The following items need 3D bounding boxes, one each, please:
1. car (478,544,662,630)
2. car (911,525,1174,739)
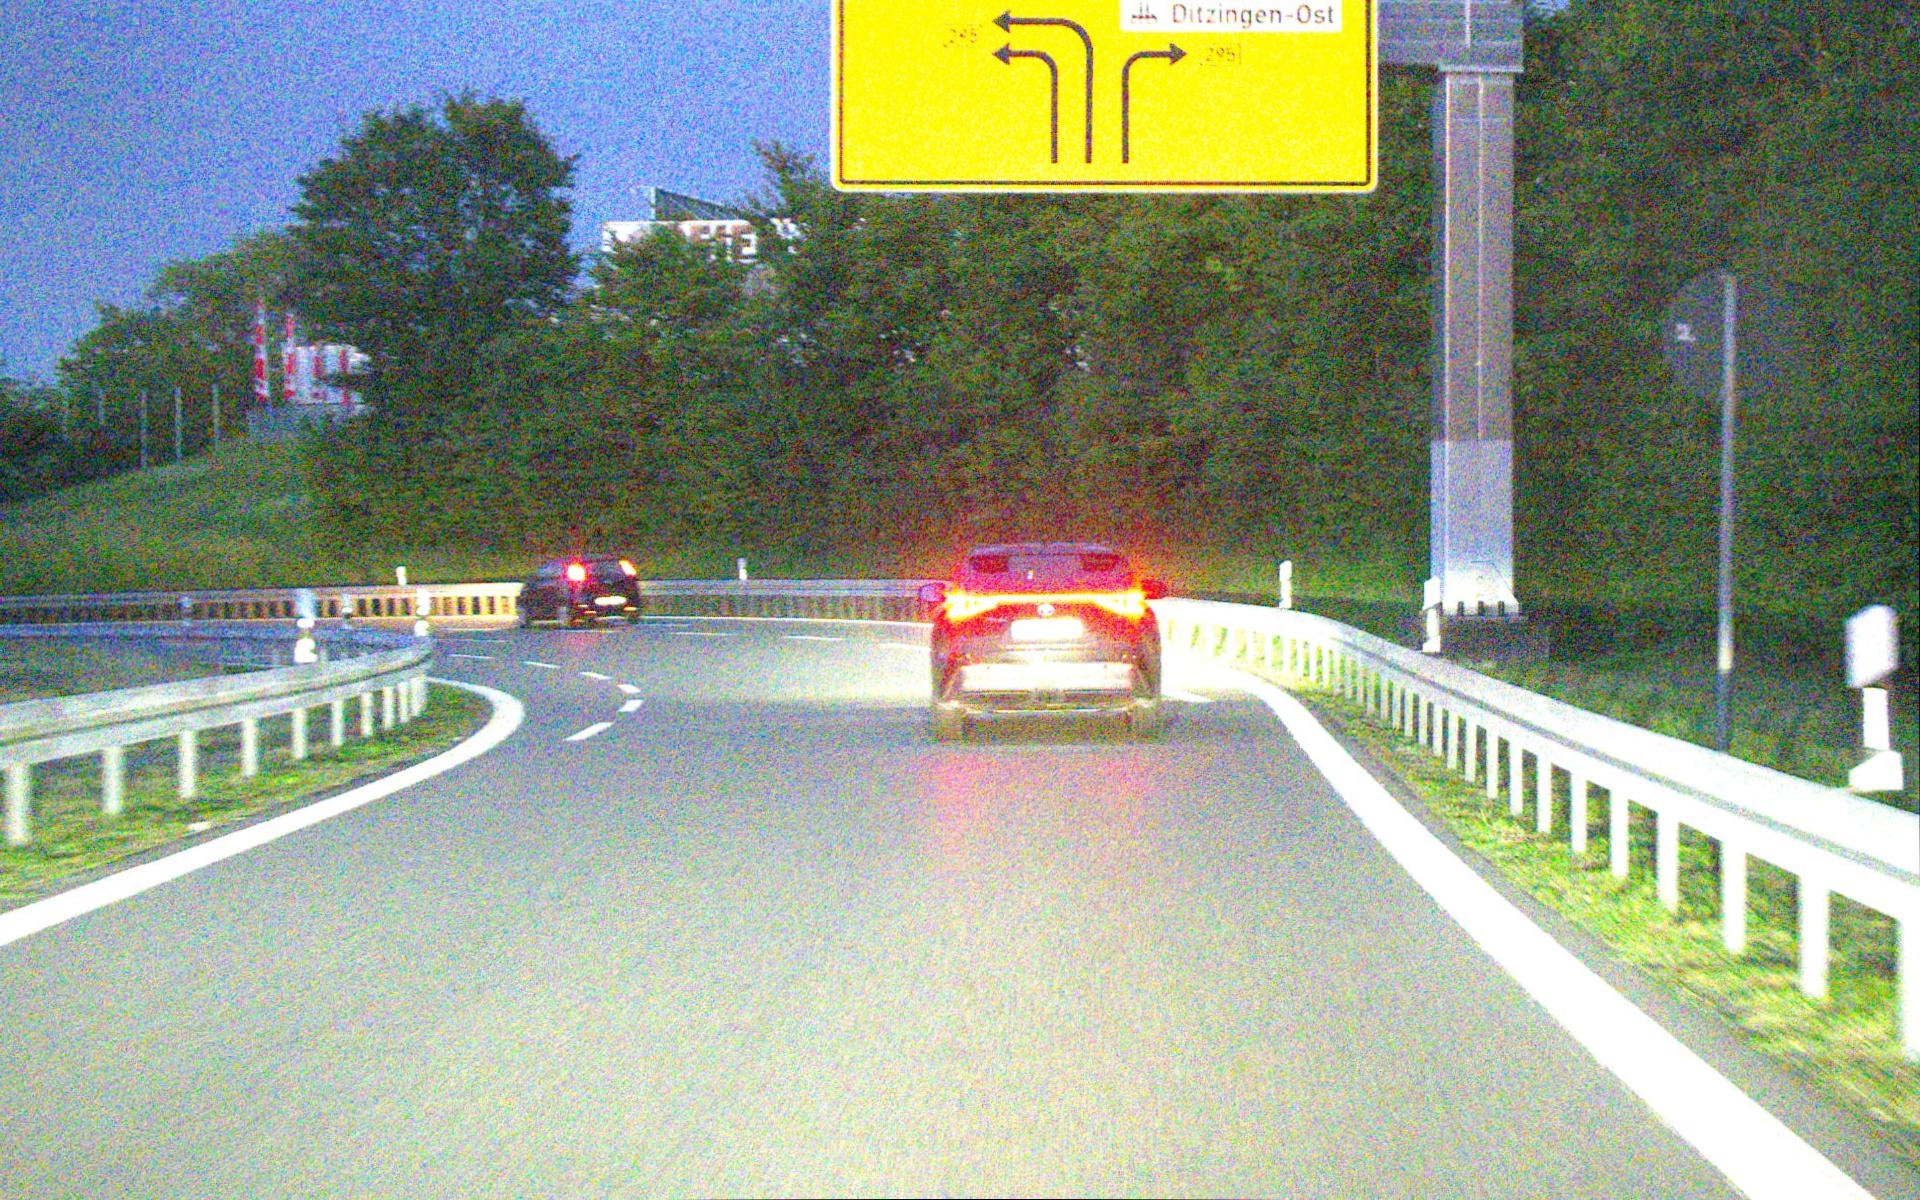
[{"bbox_3d":[-8.108,-0.283,71.252,1.994,1.593,4.000,2,1,-36],"label":"car"},{"bbox_3d":[0.769,0.220,28.793,1.994,1.653,4.314,0,1,4],"label":"car"}]
